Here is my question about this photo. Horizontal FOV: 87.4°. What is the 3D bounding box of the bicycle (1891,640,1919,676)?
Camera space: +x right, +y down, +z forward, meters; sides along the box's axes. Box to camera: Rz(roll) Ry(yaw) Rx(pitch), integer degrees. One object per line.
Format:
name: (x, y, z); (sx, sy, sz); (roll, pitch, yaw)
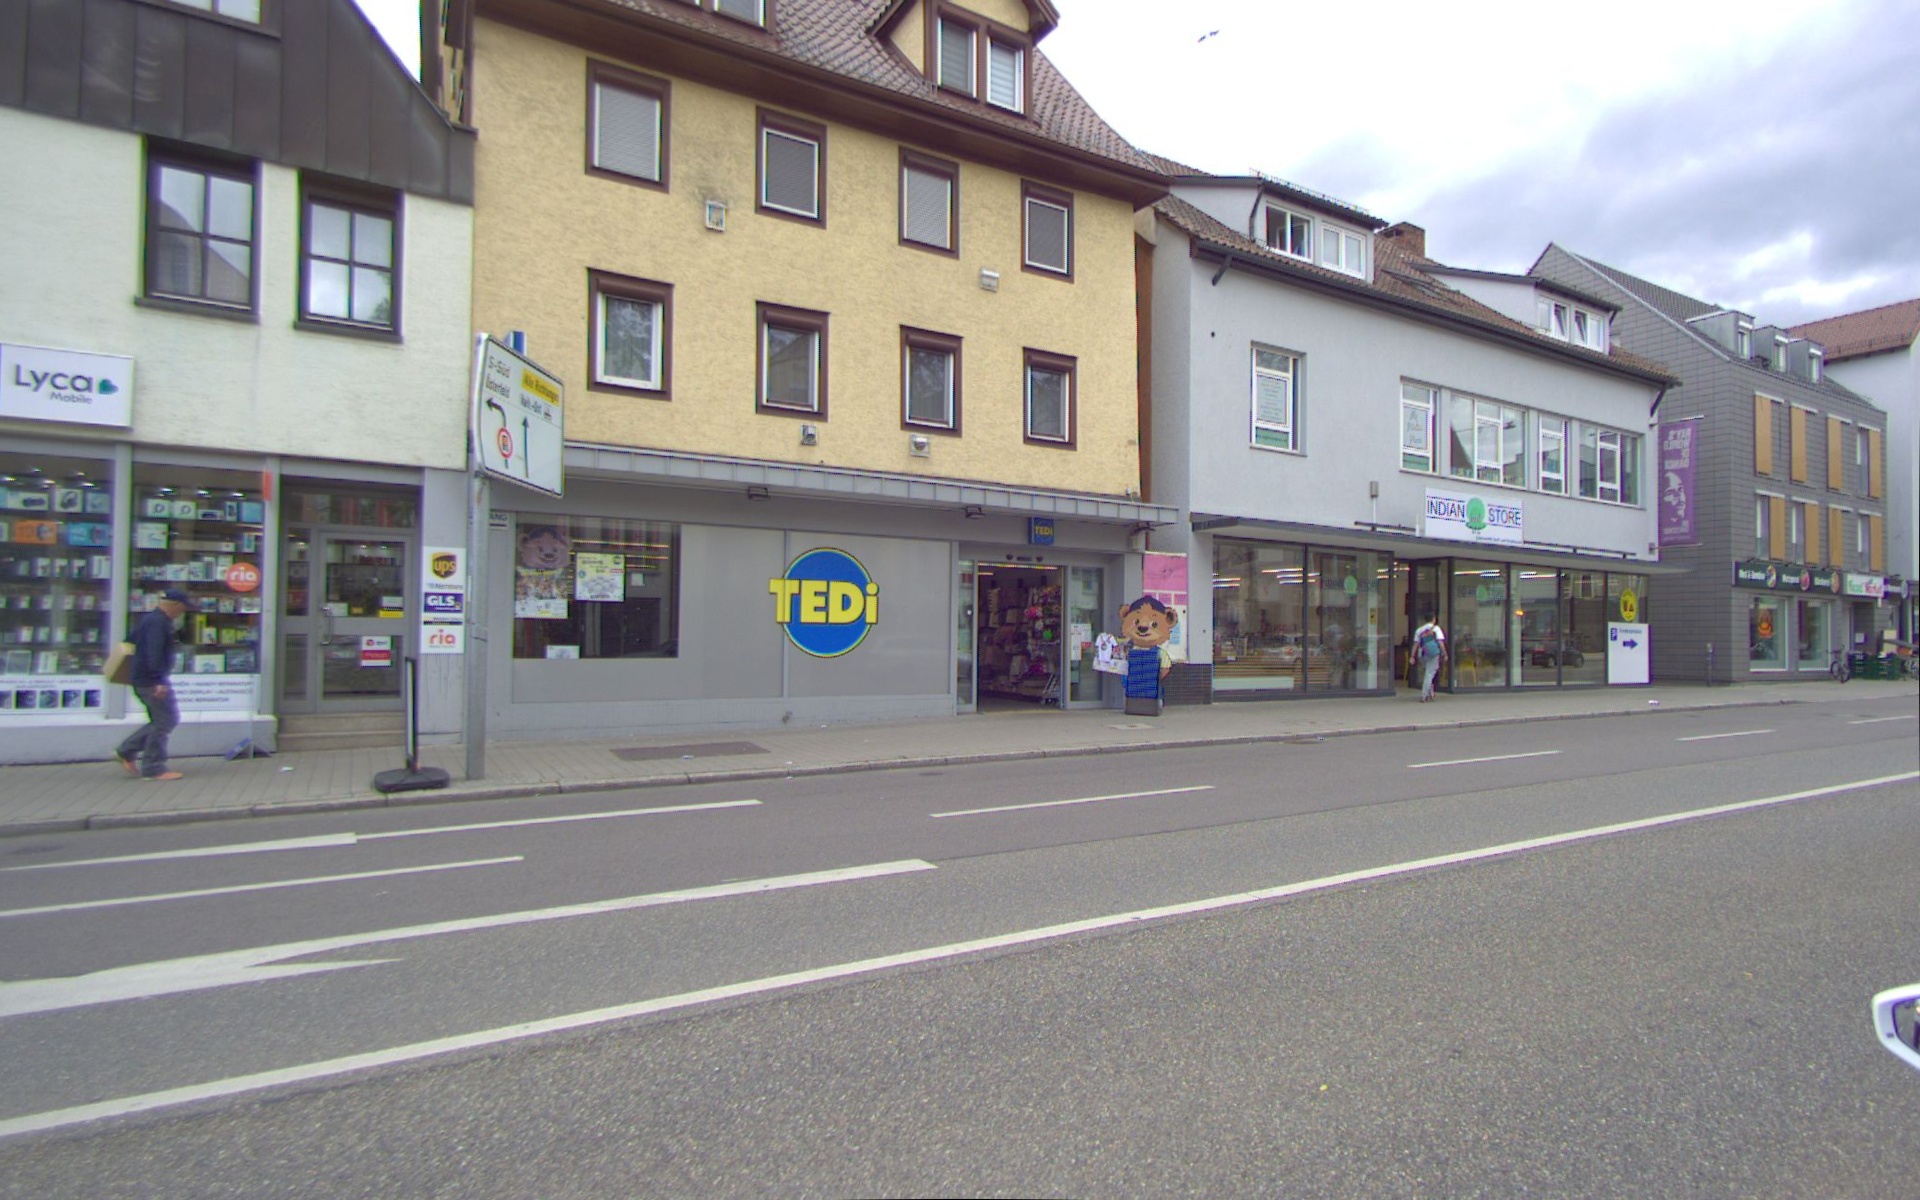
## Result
bicycle: (32.671, 1.991, 34.675); (1.807, 1.201, 0.384); (1, -2, -34)

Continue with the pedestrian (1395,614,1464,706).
pedestrian: (9.204, 1.161, 19.701); (0.969, 1.728, 0.750); (1, 2, -31)

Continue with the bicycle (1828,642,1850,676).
bicycle: (29.873, 1.995, 34.120); (1.280, 1.142, 0.383); (2, -2, -41)

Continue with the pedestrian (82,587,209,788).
pedestrian: (-7.391, 0.763, 9.151); (0.766, 1.736, 0.683); (1, 0, -30)

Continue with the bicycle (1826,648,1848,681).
bicycle: (26.936, 1.978, 30.846); (1.472, 0.966, 0.323); (2, -2, -42)

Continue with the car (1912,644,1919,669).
car: (54.569, 3.100, 53.890); (1.940, 1.387, 4.695); (1, -1, -28)
